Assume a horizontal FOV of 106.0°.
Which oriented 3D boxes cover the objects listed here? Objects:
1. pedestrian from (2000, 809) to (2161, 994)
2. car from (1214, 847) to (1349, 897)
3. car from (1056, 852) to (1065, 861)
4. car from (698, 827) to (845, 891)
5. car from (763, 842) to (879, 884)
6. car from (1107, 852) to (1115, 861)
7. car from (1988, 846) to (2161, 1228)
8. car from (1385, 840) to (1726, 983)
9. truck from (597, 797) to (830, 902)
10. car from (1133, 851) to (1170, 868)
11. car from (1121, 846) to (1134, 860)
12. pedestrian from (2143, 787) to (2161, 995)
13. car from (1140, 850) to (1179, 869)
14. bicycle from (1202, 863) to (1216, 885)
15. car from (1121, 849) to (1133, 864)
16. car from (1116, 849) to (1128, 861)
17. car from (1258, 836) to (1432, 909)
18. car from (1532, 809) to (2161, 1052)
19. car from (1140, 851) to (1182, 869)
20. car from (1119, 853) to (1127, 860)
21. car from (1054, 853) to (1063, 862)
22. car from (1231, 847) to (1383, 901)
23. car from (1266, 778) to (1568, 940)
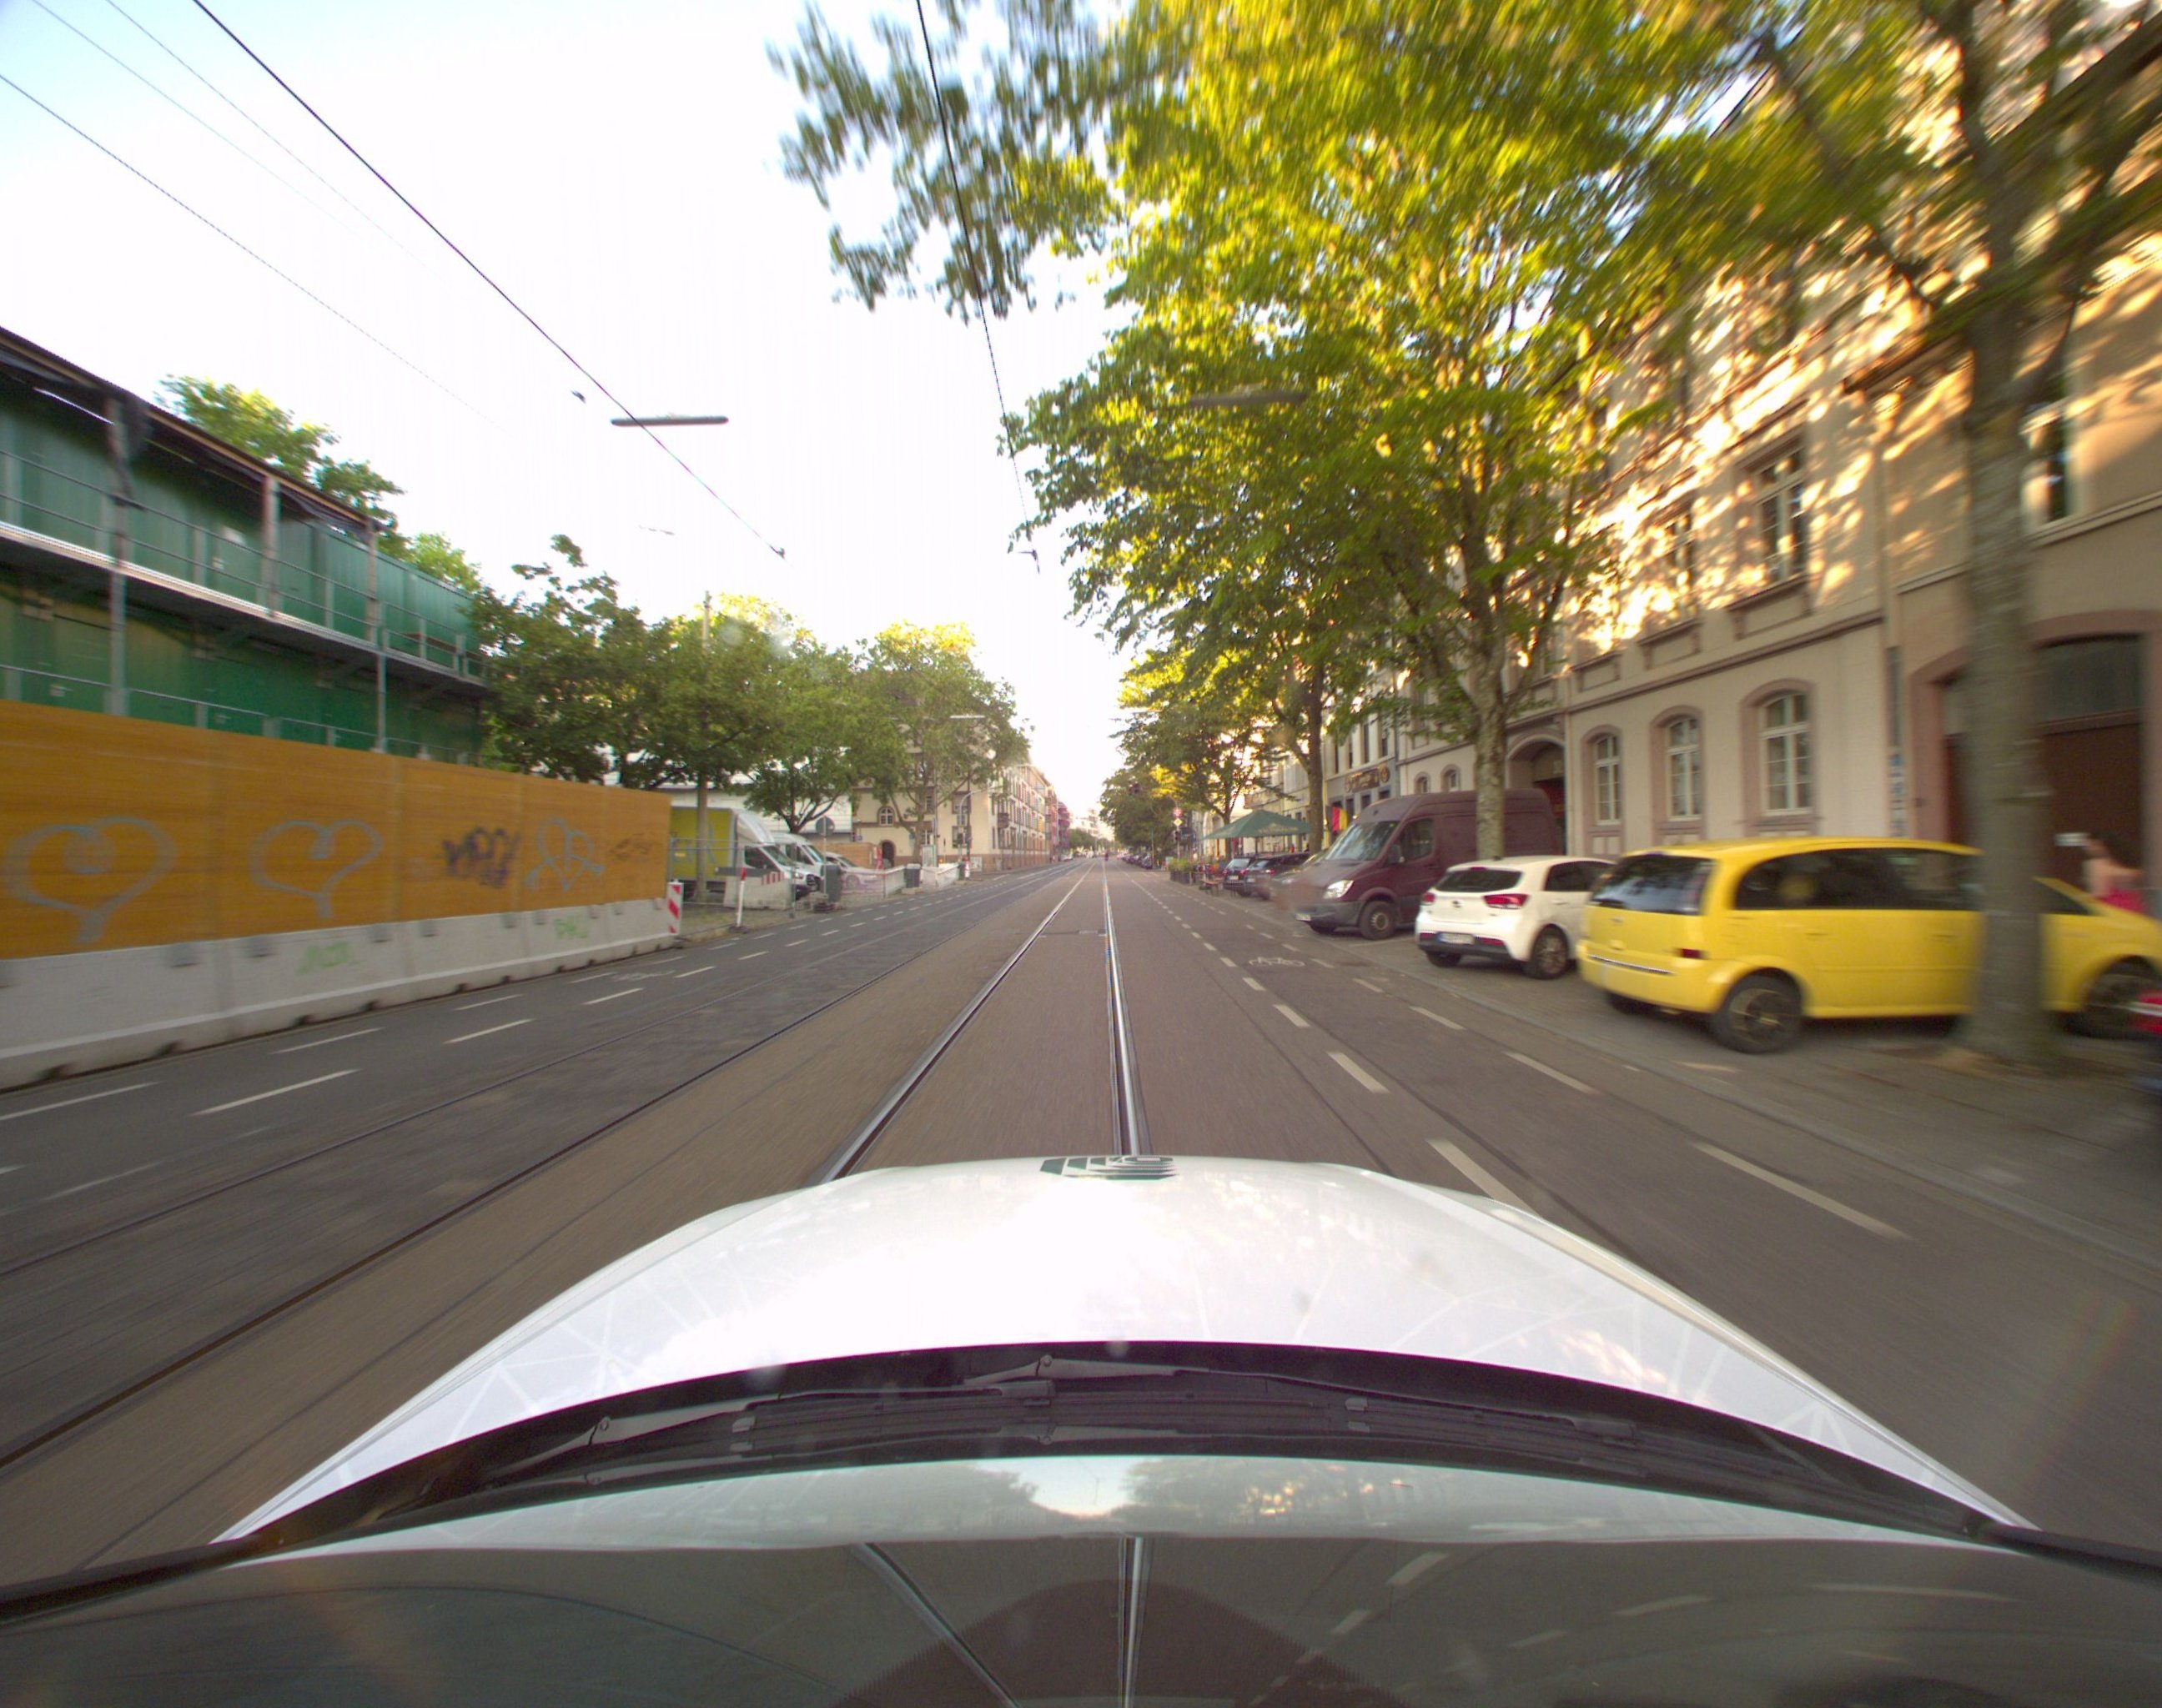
[{"bbox_3d":[9.036,0.407,7.353,0.536,1.568,0.814,-1,0,3],"label":"pedestrian"},{"bbox_3d":[6.959,0.615,28.286,4.194,1.498,1.993,-2,-1,-23],"label":"car"},{"bbox_3d":[-4.734,0.587,188.214,1.891,2.178,4.001,0,0,1],"label":"car"},{"bbox_3d":[-13.153,0.198,34.857,5.384,2.558,2.226,1,0,-2],"label":"car"},{"bbox_3d":[-12.949,0.424,40.747,5.002,1.945,2.230,1,0,5],"label":"car"},{"bbox_3d":[7.527,0.627,202.870,1.891,2.013,4.001,0,0,1],"label":"car"},{"bbox_3d":[6.278,0.641,3.547,4.141,1.425,1.905,-3,-1,-24],"label":"car"},{"bbox_3d":[6.359,0.673,10.956,3.967,1.486,1.906,-3,-1,-23],"label":"car"},{"bbox_3d":[-12.906,-0.152,29.025,7.039,3.480,2.539,1,0,-3],"label":"truck"},{"bbox_3d":[7.566,0.605,87.669,3.872,1.661,1.862,-1,-1,2],"label":"car"},{"bbox_3d":[7.216,-0.137,126.043,1.798,2.013,4.001,0,0,1],"label":"car"},{"bbox_3d":[9.678,0.317,6.879,0.563,1.814,0.607,-1,0,1],"label":"pedestrian"},{"bbox_3d":[8.015,0.561,83.059,3.872,1.848,1.862,-1,-1,2],"label":"car"},{"bbox_3d":[6.140,0.933,39.216,0.417,1.015,1.830,0,0,2],"label":"bicycle"},{"bbox_3d":[6.584,0.347,116.775,1.715,2.013,4.001,0,0,1],"label":"car"},{"bbox_3d":[7.034,0.088,139.468,1.891,2.013,4.001,0,0,1],"label":"car"},{"bbox_3d":[6.949,0.477,21.696,4.006,1.708,1.815,-2,-1,-5],"label":"car"},{"bbox_3d":[6.389,0.568,6.968,3.935,1.619,1.921,-3,-1,1],"label":"car"},{"bbox_3d":[7.573,0.581,77.603,3.872,1.592,1.862,-1,0,2],"label":"car"},{"bbox_3d":[10.969,0.703,214.171,1.956,1.718,4.001,0,0,1],"label":"car"},{"bbox_3d":[-5.120,0.706,183.573,1.891,2.013,4.001,0,0,1],"label":"car"},{"bbox_3d":[7.128,0.610,25.787,4.182,1.462,1.998,-2,-1,-15],"label":"car"},{"bbox_3d":[6.389,0.036,15.613,5.105,2.642,2.011,-3,0,-16],"label":"car"}]
